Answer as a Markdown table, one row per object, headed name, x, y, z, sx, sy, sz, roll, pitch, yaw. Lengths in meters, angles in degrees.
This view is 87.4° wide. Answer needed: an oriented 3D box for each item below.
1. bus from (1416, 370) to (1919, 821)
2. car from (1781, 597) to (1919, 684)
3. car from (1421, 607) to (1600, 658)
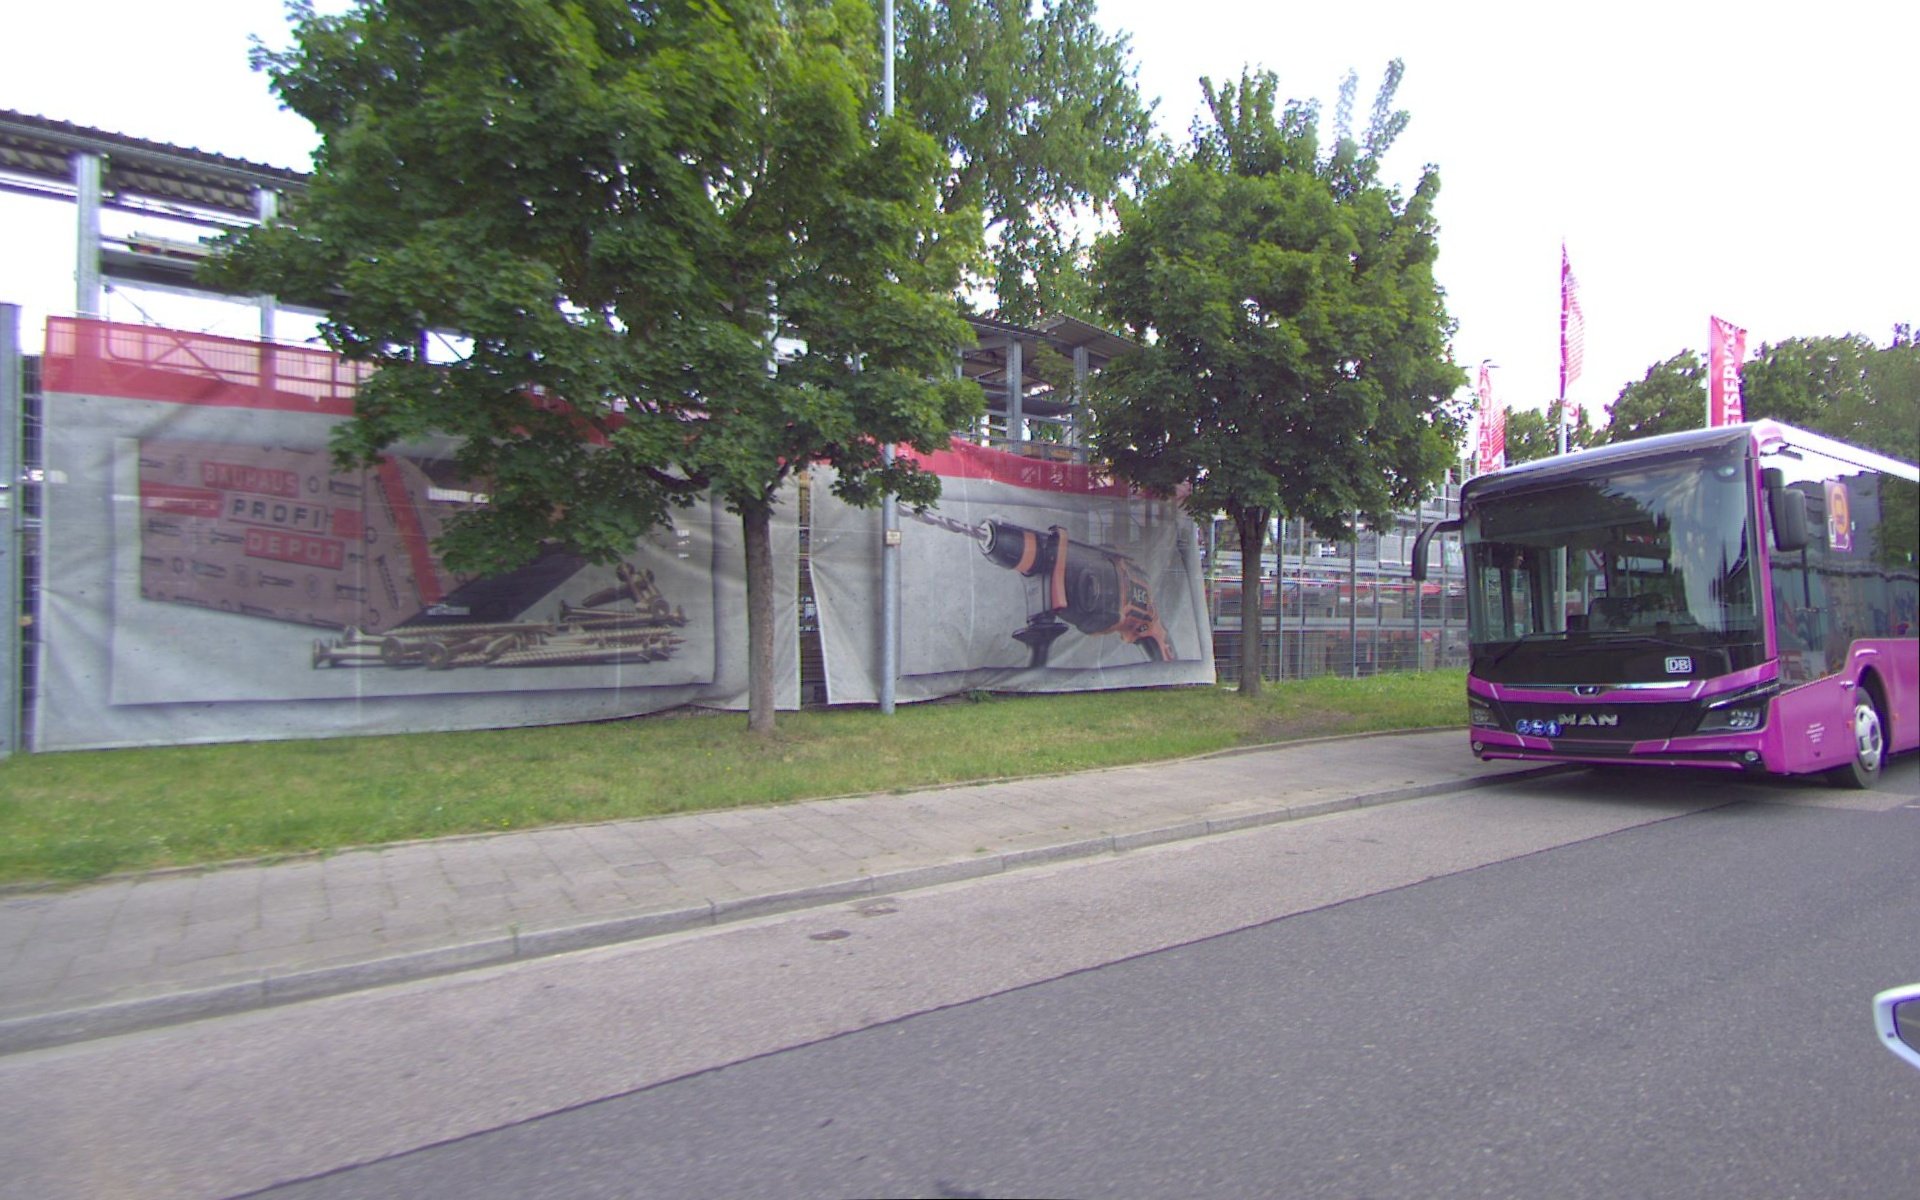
| name | x | y | z | sx | sy | sz | roll | pitch | yaw |
| --- | --- | --- | --- | --- | --- | --- | --- | --- | --- |
| bus | 10.687 | 0.044 | 12.536 | 13.083 | 3.467 | 2.647 | 0 | -3 | -35 |
| car | 22.740 | 0.928 | 23.620 | 1.967 | 1.975 | 4.980 | 0 | 0 | -28 |
| car | 17.380 | 0.965 | 31.919 | 1.933 | 1.473 | 4.657 | 0 | 0 | -33 |
